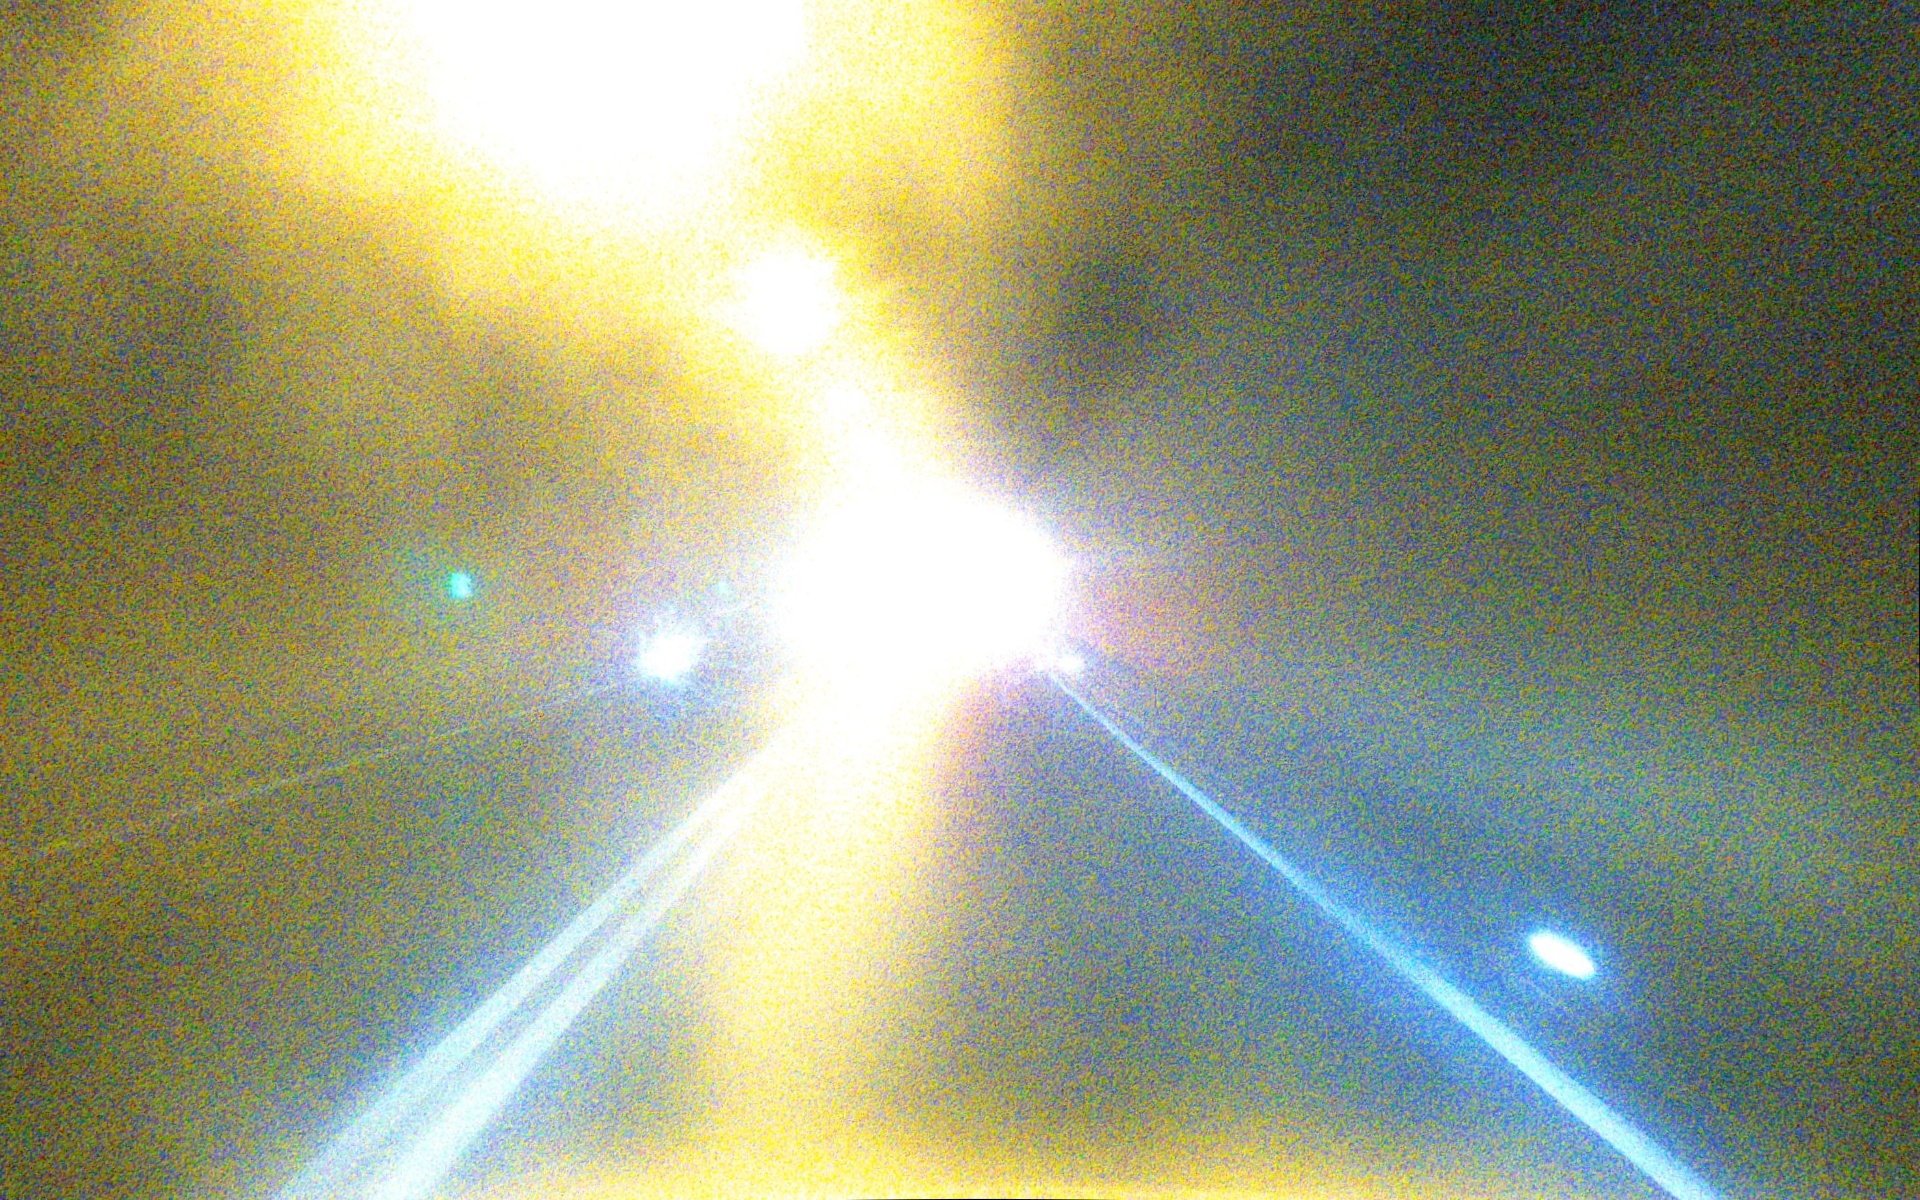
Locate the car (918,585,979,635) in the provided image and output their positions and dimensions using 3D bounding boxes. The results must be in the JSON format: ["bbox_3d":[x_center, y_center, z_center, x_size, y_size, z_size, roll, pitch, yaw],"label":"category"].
[{"bbox_3d":[-0.400,0.342,57.341,2.047,1.691,3.999,0,0,-1],"label":"car"}]
